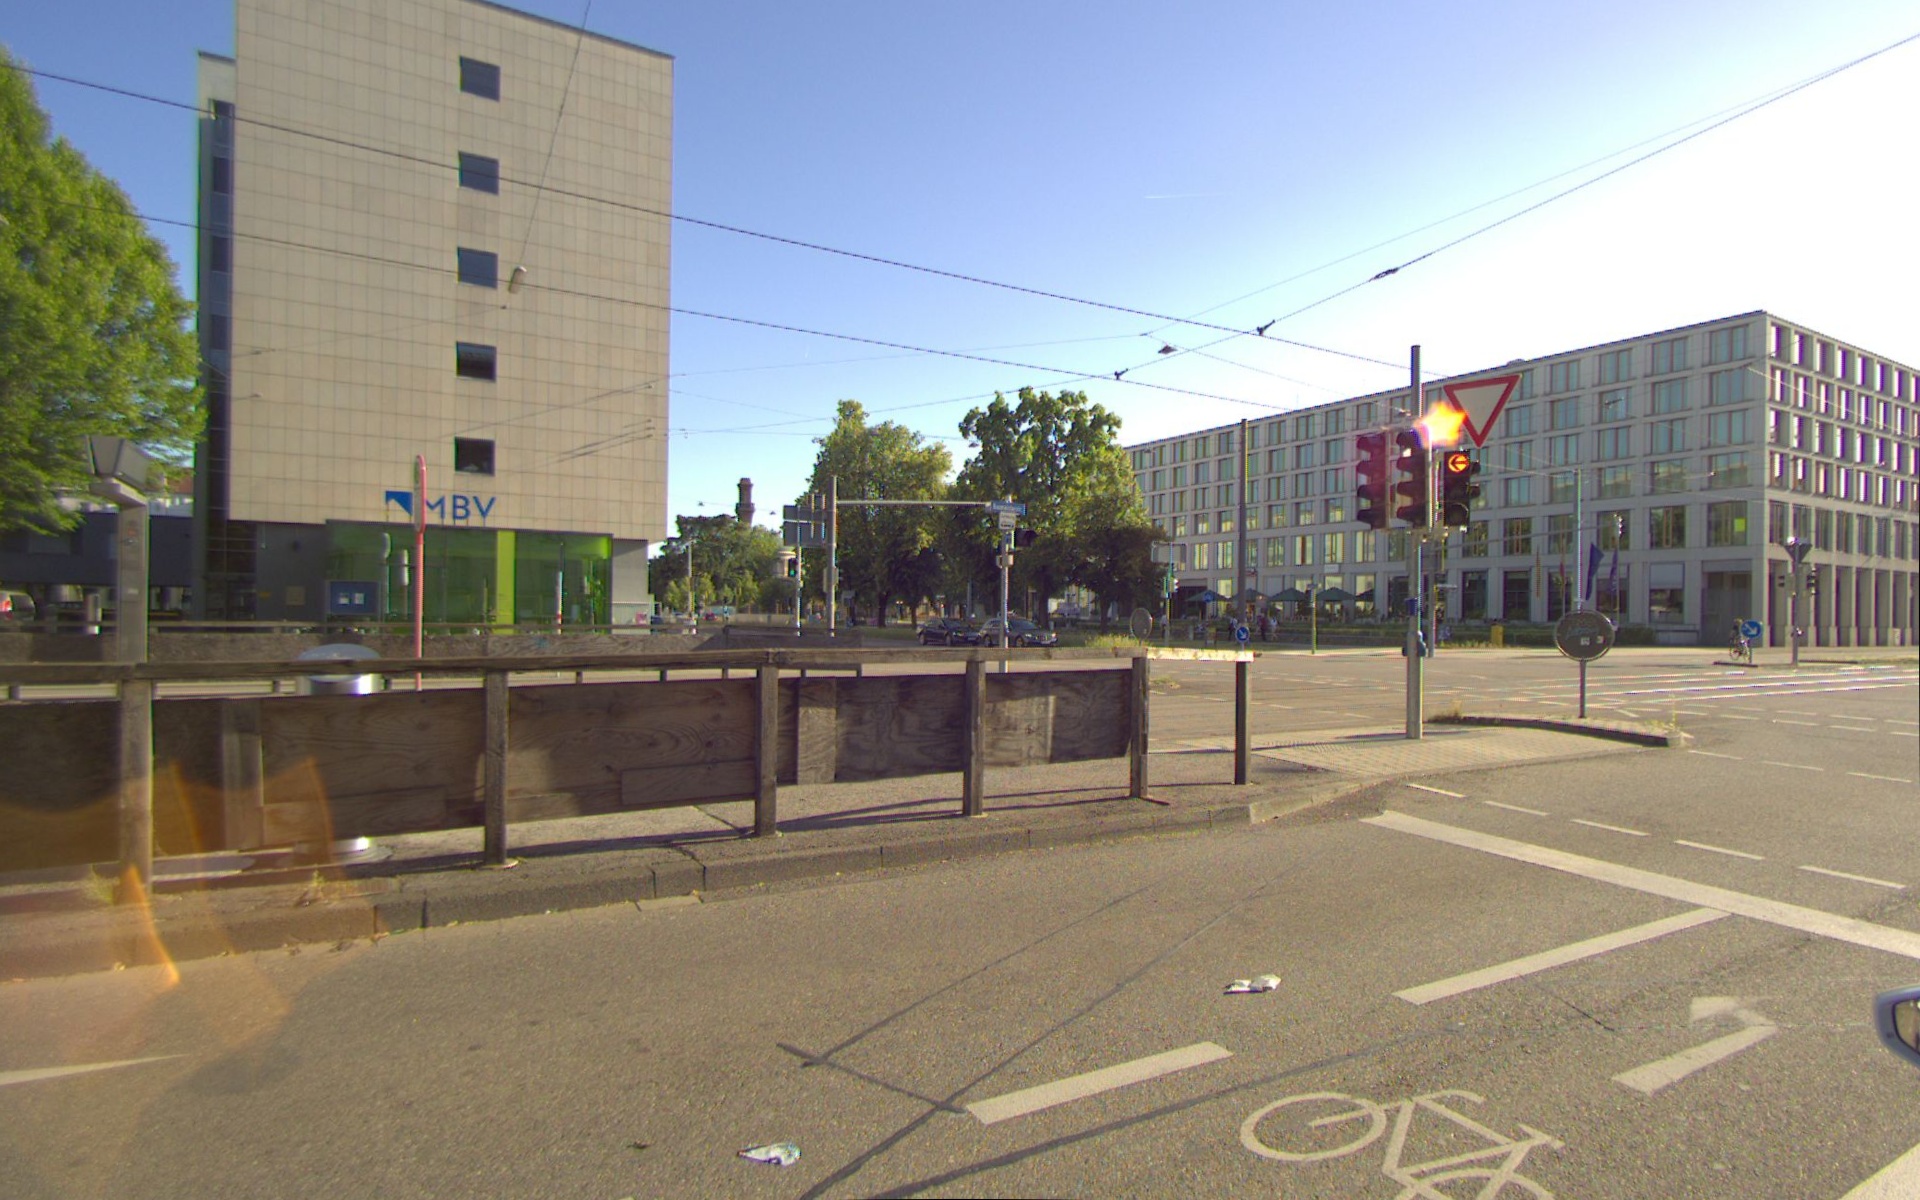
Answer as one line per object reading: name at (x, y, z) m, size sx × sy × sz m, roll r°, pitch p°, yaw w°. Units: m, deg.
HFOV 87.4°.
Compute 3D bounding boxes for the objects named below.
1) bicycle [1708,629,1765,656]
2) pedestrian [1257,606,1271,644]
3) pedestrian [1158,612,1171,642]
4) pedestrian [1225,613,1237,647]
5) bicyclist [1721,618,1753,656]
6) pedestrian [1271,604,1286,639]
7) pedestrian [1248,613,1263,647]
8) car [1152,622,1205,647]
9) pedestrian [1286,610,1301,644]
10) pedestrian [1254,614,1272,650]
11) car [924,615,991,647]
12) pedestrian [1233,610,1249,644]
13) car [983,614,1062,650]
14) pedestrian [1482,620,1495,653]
bicycle at (33.714, 1.837, 43.601) m, size 2.976 × 1.136 × 0.871 m, roll 1°, pitch -1°, yaw -29°
pedestrian at (18.539, 1.504, 61.278) m, size 0.528 × 2.310 × 0.565 m, roll 1°, pitch -1°, yaw -36°
pedestrian at (13.475, 1.768, 66.152) m, size 0.672 × 1.928 × 0.560 m, roll 1°, pitch -1°, yaw -21°
pedestrian at (16.304, 1.818, 60.375) m, size 0.483 × 2.040 × 0.493 m, roll 1°, pitch -1°, yaw -17°
bicyclist at (33.747, 1.603, 43.643) m, size 0.812 × 1.663 × 0.872 m, roll 1°, pitch -1°, yaw -29°
pedestrian at (19.018, 1.277, 59.967) m, size 0.793 × 2.040 × 0.526 m, roll 1°, pitch -1°, yaw -36°
pedestrian at (18.169, 1.828, 61.703) m, size 0.793 × 2.040 × 0.526 m, roll 1°, pitch -1°, yaw -36°
car at (13.703, 2.143, 63.104) m, size 1.455 × 1.457 × 3.167 m, roll 1°, pitch -1°, yaw -32°
pedestrian at (20.110, 1.650, 60.586) m, size 0.793 × 2.040 × 0.526 m, roll 1°, pitch -1°, yaw -36°
pedestrian at (18.025, 1.887, 59.762) m, size 0.644 × 2.095 × 0.645 m, roll 6°, pitch -4°, yaw -36°
car at (-0.163, 1.591, 52.778) m, size 1.801 × 1.595 × 3.967 m, roll 0°, pitch 0°, yaw -31°
pedestrian at (17.025, 1.627, 60.891) m, size 0.793 × 2.040 × 0.526 m, roll 1°, pitch -1°, yaw -36°
car at (2.883, 1.481, 47.474) m, size 1.708 × 1.595 × 4.140 m, roll 1°, pitch -1°, yaw -31°
pedestrian at (32.627, 2.261, 61.967) m, size 0.386 × 2.040 × 0.606 m, roll 1°, pitch -1°, yaw -29°
